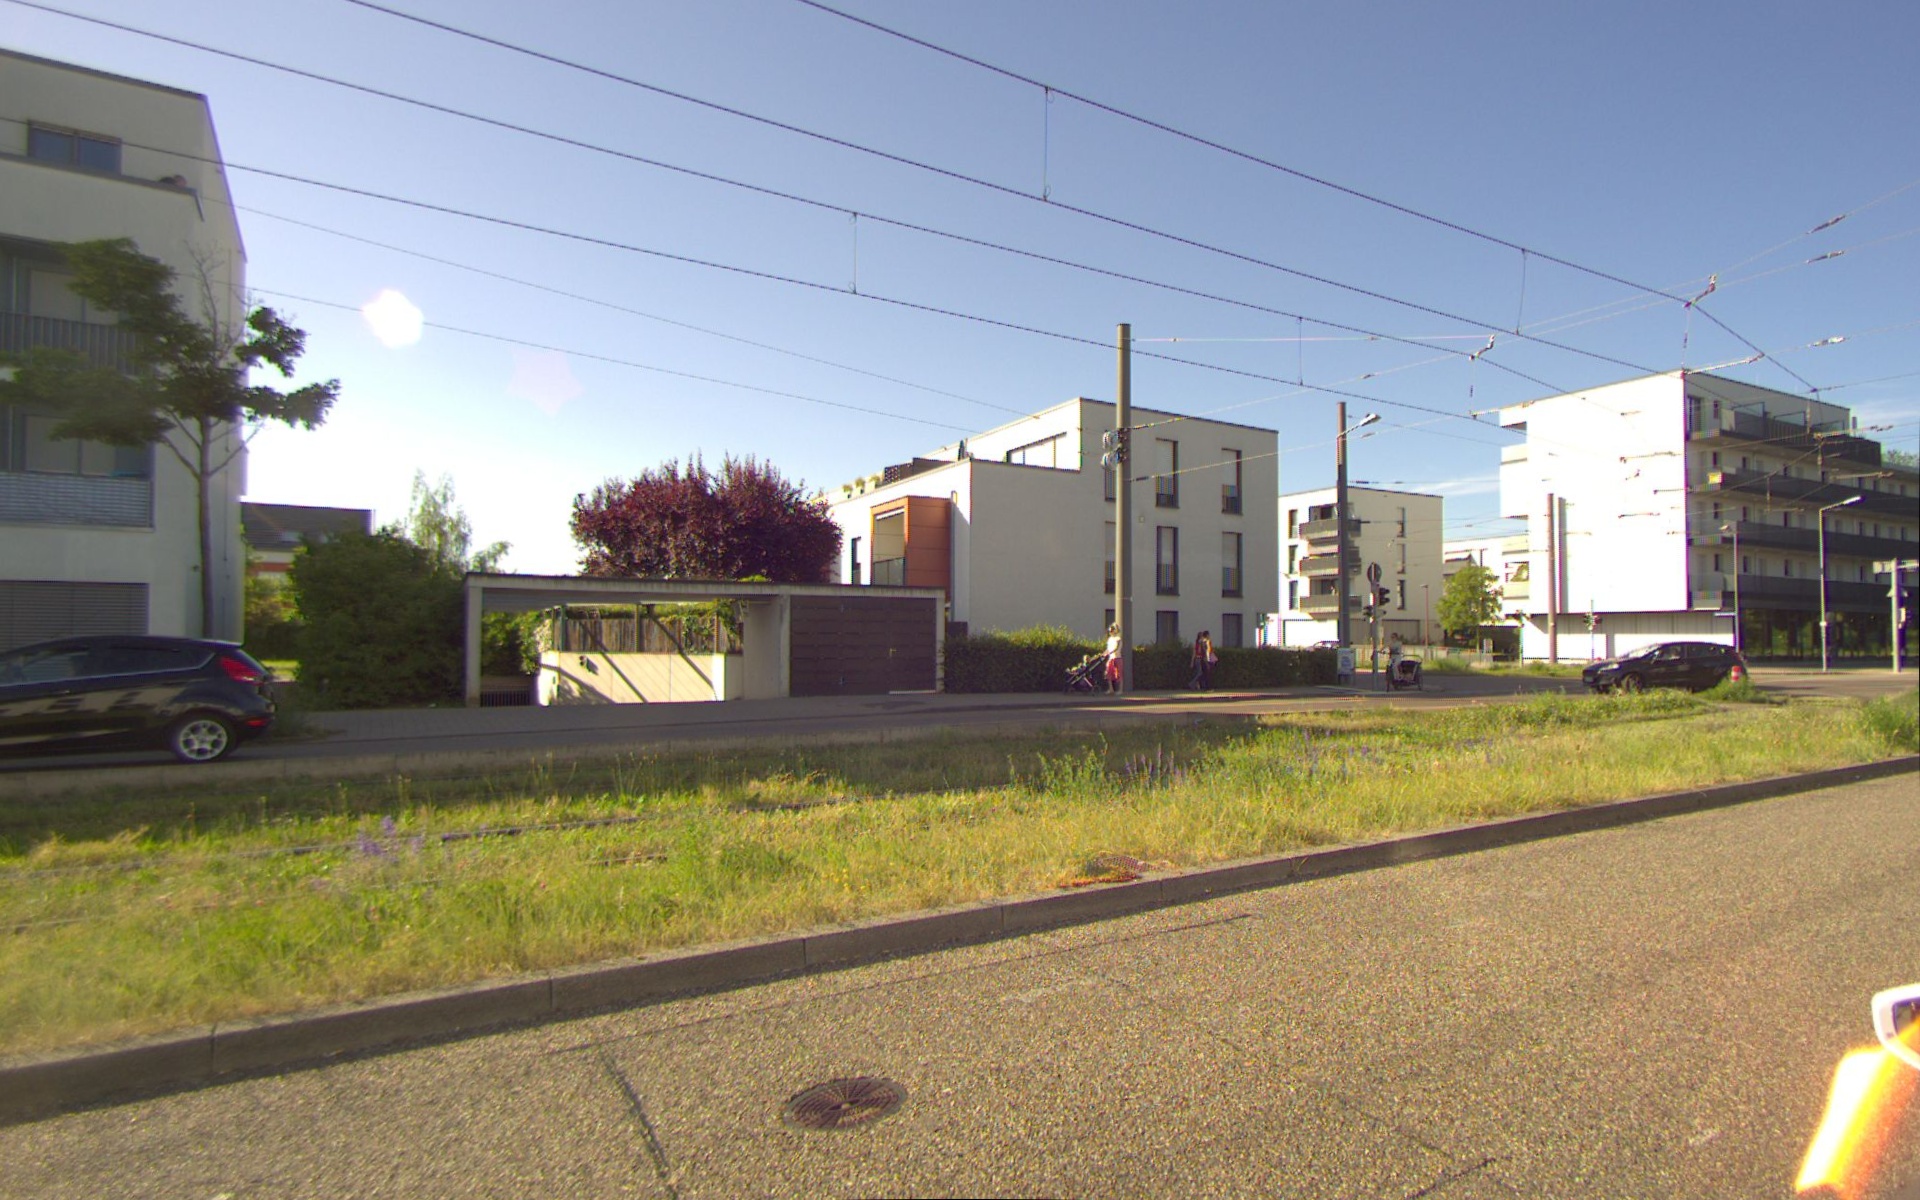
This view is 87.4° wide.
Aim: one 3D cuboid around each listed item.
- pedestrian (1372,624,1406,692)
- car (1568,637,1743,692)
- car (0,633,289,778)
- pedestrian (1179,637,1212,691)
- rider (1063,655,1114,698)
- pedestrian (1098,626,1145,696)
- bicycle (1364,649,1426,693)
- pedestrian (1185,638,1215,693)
[{"bbox_3d":[13.303,1.782,31.146,0.665,2.040,0.753,1,-1,-44],"label":"pedestrian"},{"bbox_3d":[19.646,1.831,28.491,3.665,1.449,1.710,-1,-3,2],"label":"car"},{"bbox_3d":[-9.784,1.110,10.956,3.953,1.437,1.780,1,-4,-30],"label":"car"},{"bbox_3d":[6.698,1.812,28.618,0.733,1.483,0.555,1,-1,-29],"label":"pedestrian"},{"bbox_3d":[3.274,1.936,25.536,1.031,1.016,0.775,1,-1,-26],"label":"rider"},{"bbox_3d":[4.174,1.560,25.938,0.897,1.771,0.813,1,-1,-26],"label":"pedestrian"},{"bbox_3d":[13.670,2.206,31.521,2.684,1.238,0.786,1,-1,-44],"label":"bicycle"},{"bbox_3d":[6.672,1.811,27.957,0.604,1.483,0.554,1,-1,-29],"label":"pedestrian"}]
